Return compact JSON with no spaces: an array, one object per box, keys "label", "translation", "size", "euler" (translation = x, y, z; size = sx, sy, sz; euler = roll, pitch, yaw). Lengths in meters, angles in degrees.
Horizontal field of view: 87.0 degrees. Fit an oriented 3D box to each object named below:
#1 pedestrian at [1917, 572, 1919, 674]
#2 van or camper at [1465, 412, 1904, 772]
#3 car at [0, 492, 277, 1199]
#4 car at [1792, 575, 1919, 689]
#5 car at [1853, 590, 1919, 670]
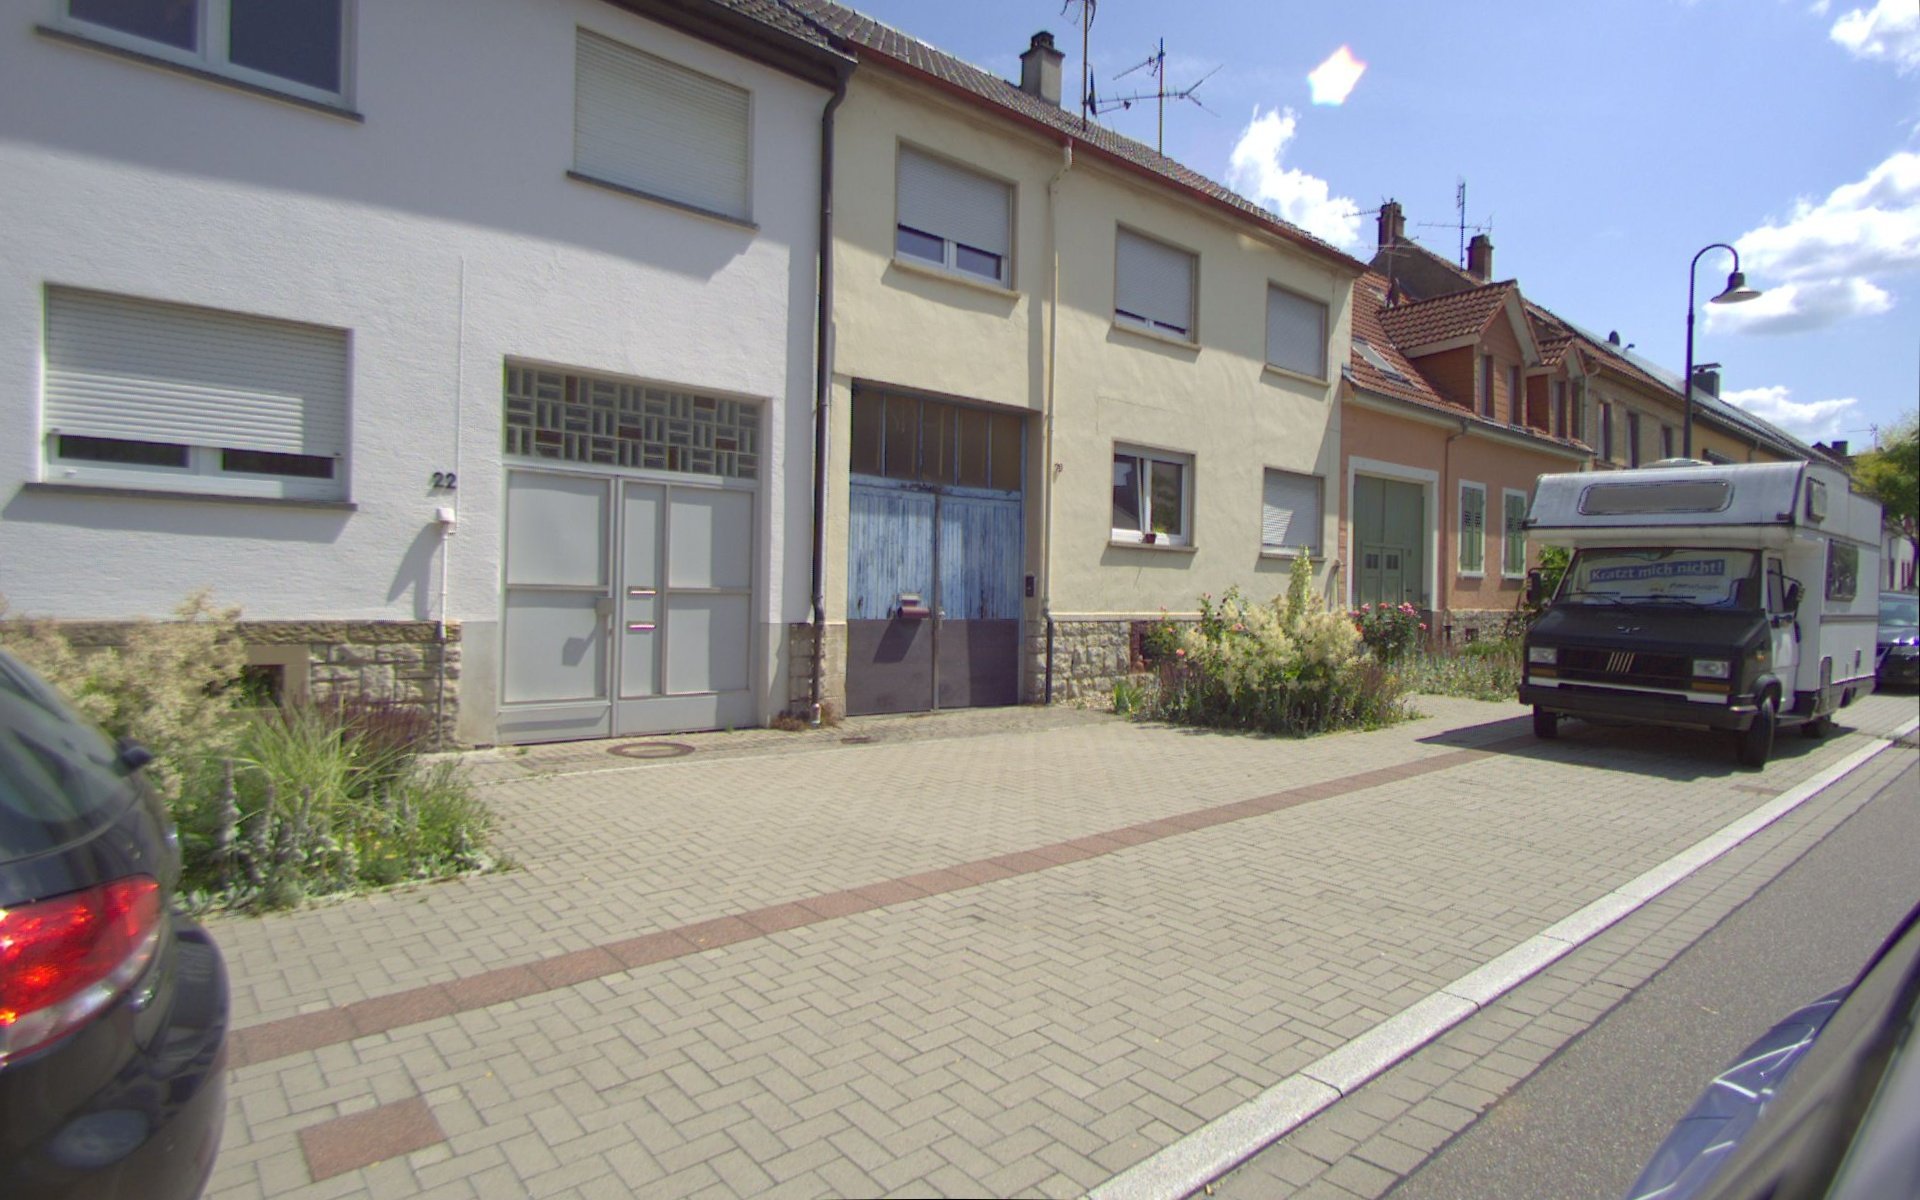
[{"label":"pedestrian","translation":[18.128,0.431,18.591],"size":[0.568,1.876,0.718],"euler":[0,0,-40]},{"label":"van or camper","translation":[7.937,-0.098,10.816],"size":[5.688,2.845,2.478],"euler":[0,2,-41]},{"label":"car","translation":[-3.039,0.629,0.848],"size":[3.936,1.549,1.770],"euler":[0,1,-40]},{"label":"car","translation":[15.844,0.468,17.305],"size":[4.248,1.726,1.770],"euler":[0,1,-40]},{"label":"car","translation":[19.769,0.563,20.729],"size":[4.223,1.507,1.769],"euler":[0,1,-42]}]
